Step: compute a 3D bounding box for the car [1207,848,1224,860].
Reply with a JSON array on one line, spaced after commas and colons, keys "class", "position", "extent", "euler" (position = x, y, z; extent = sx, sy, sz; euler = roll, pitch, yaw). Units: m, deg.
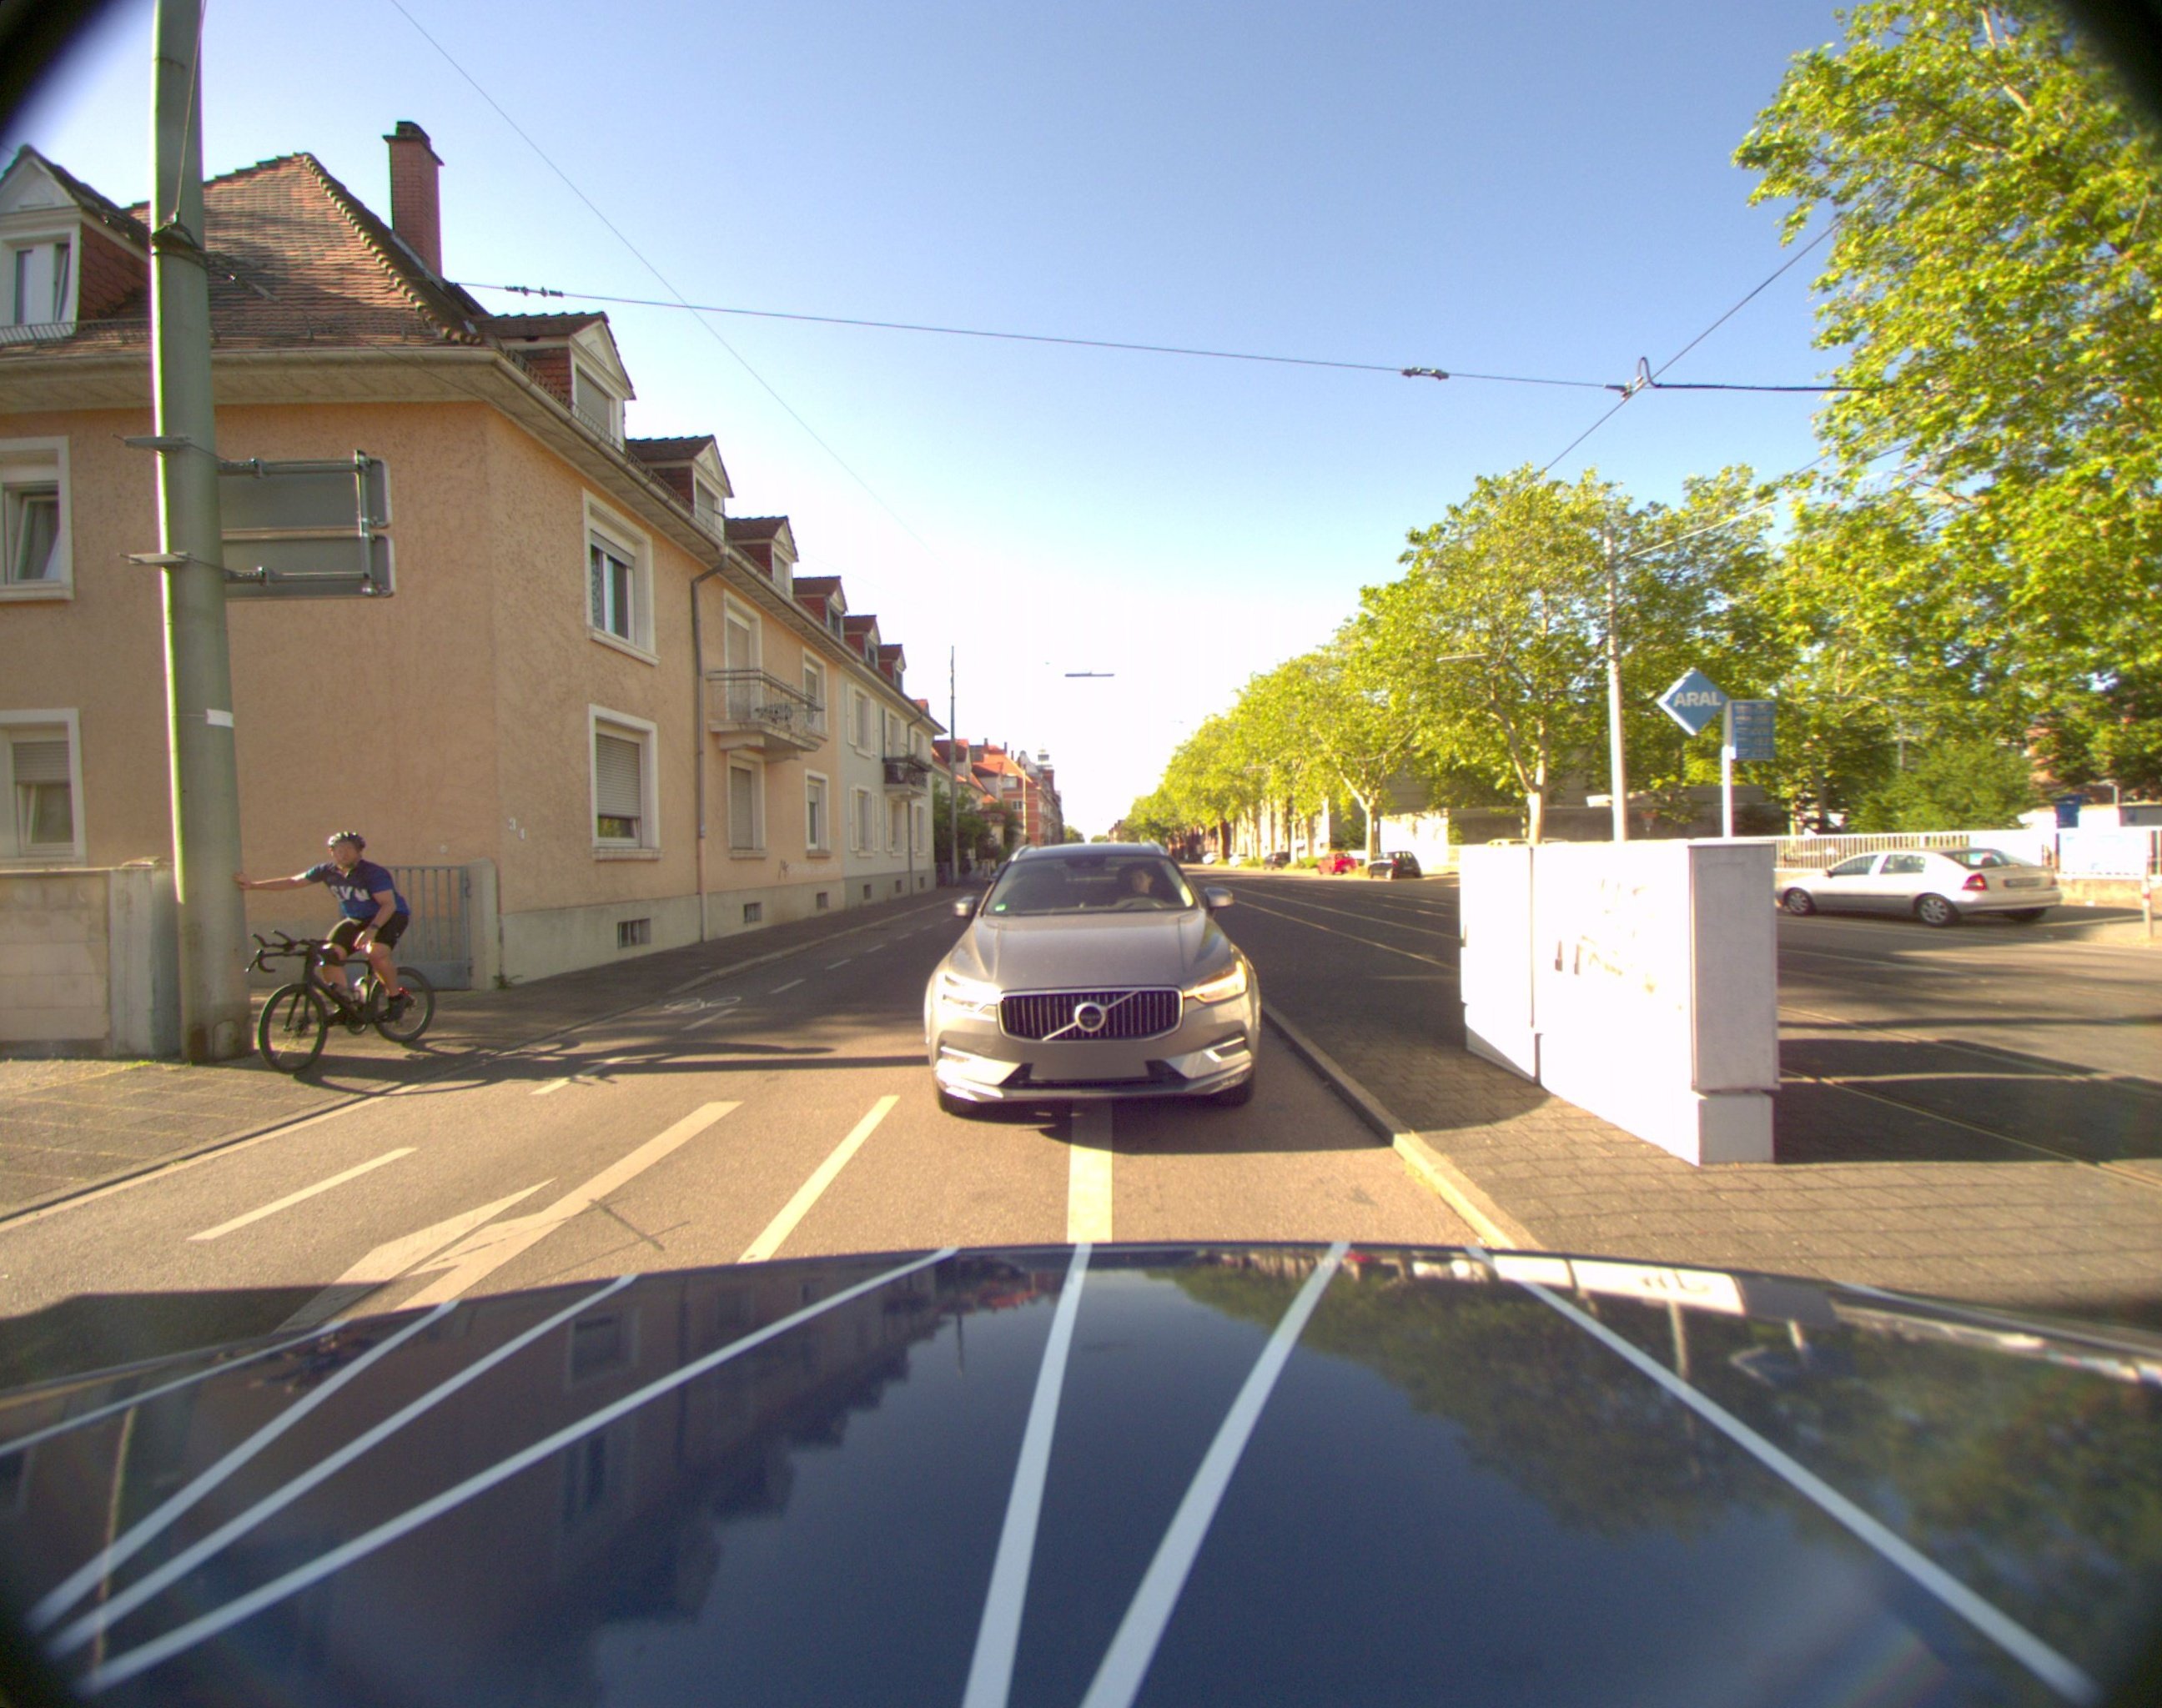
[{"class": "car", "position": [17.803, 0.042, 100.715], "extent": [1.695, 1.440, 3.749], "euler": [-3, 0, 1]}]

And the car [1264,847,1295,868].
[{"class": "car", "position": [17.145, 0.286, 65.890], "extent": [1.695, 1.648, 3.749], "euler": [-3, 0, 1]}]

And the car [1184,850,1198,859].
[{"class": "car", "position": [18.211, 0.090, 125.524], "extent": [1.695, 1.440, 3.749], "euler": [-3, 0, 1]}]

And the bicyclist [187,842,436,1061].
[{"class": "bicyclist", "position": [-6.217, 0.740, 6.209], "extent": [1.051, 1.599, 0.885], "euler": [4, 0, 1]}]

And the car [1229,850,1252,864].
[{"class": "car", "position": [17.472, 0.306, 83.544], "extent": [1.695, 1.440, 3.749], "euler": [-3, 0, 1]}]

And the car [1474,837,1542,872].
[{"class": "car", "position": [21.551, 0.023, 38.474], "extent": [1.599, 1.606, 3.304], "euler": [-2, 0, 1]}]

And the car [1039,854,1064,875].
[{"class": "car", "position": [-2.544, 0.871, 67.077], "extent": [1.793, 1.673, 3.814], "euler": [-3, 0, 2]}]

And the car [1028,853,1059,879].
[{"class": "car", "position": [-2.626, 0.845, 54.007], "extent": [1.793, 1.673, 3.814], "euler": [-3, 0, 2]}]

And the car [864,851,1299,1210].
[{"class": "car", "position": [0.033, 0.831, 5.755], "extent": [1.998, 1.628, 4.306], "euler": [-2, 0, 1]}]

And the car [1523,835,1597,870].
[{"class": "car", "position": [23.885, -0.072, 38.026], "extent": [1.599, 1.583, 3.304], "euler": [-2, 0, 1]}]

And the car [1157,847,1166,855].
[{"class": "car", "position": [20.258, -0.702, 191.415], "extent": [1.695, 1.775, 3.749], "euler": [-3, 0, 1]}]

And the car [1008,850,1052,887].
[{"class": "car", "position": [-2.819, 0.750, 42.822], "extent": [1.793, 1.828, 5.149], "euler": [-3, 0, 2]}]

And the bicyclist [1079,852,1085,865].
[{"class": "bicyclist", "position": [0.130, 0.565, 98.264], "extent": [0.685, 1.611, 0.855], "euler": [-2, 1, 1]}]

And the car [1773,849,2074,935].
[{"class": "car", "position": [16.229, 0.646, 14.982], "extent": [1.695, 1.395, 3.813], "euler": [-3, 0, 1]}]

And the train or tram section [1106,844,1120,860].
[{"class": "train or tram section", "position": [7.740, -0.464, 185.130], "extent": [2.717, 3.643, 12.653], "euler": [-1, 0, 0]}]

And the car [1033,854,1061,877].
[{"class": "car", "position": [-2.713, 0.896, 61.032], "extent": [1.793, 1.673, 3.814], "euler": [-3, 0, 2]}]

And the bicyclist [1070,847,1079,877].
[{"class": "bicyclist", "position": [-0.435, 0.510, 49.882], "extent": [0.519, 1.922, 0.946], "euler": [-1, -2, 3]}]

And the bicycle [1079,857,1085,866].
[{"class": "bicycle", "position": [0.152, 1.014, 98.403], "extent": [0.685, 1.098, 1.806], "euler": [-2, 1, 1]}]

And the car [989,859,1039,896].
[{"class": "car", "position": [-3.218, 1.092, 37.049], "extent": [1.695, 1.571, 3.815], "euler": [-3, 0, 5]}]

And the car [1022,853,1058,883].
[{"class": "car", "position": [-2.579, 0.863, 48.487], "extent": [1.793, 1.673, 3.814], "euler": [-3, 0, 2]}]

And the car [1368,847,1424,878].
[{"class": "car", "position": [16.890, 0.436, 40.897], "extent": [1.599, 1.498, 3.304], "euler": [-3, 0, 1]}]

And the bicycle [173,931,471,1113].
[{"class": "bicycle", "position": [-6.020, 1.264, 6.200], "extent": [0.592, 1.062, 1.775], "euler": [4, 0, 1]}]

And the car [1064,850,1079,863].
[{"class": "car", "position": [-1.283, 0.381, 107.105], "extent": [1.793, 1.673, 3.814], "euler": [-3, 0, 2]}]

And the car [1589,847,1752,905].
[{"class": "car", "position": [16.415, 0.567, 21.417], "extent": [1.695, 1.395, 3.749], "euler": [-3, 0, 1]}]

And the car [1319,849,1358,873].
[{"class": "car", "position": [16.883, 0.445, 49.868], "extent": [1.599, 1.498, 2.622], "euler": [-3, 0, 1]}]

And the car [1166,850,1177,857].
[{"class": "car", "position": [19.283, -0.172, 161.878], "extent": [1.695, 1.440, 3.749], "euler": [-3, 0, 1]}]

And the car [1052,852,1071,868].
[{"class": "car", "position": [-2.142, 0.648, 85.372], "extent": [1.793, 1.673, 3.814], "euler": [-3, 0, 2]}]

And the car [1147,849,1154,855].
[{"class": "car", "position": [19.676, -0.594, 214.809], "extent": [1.695, 1.775, 3.749], "euler": [-3, 0, 1]}]
